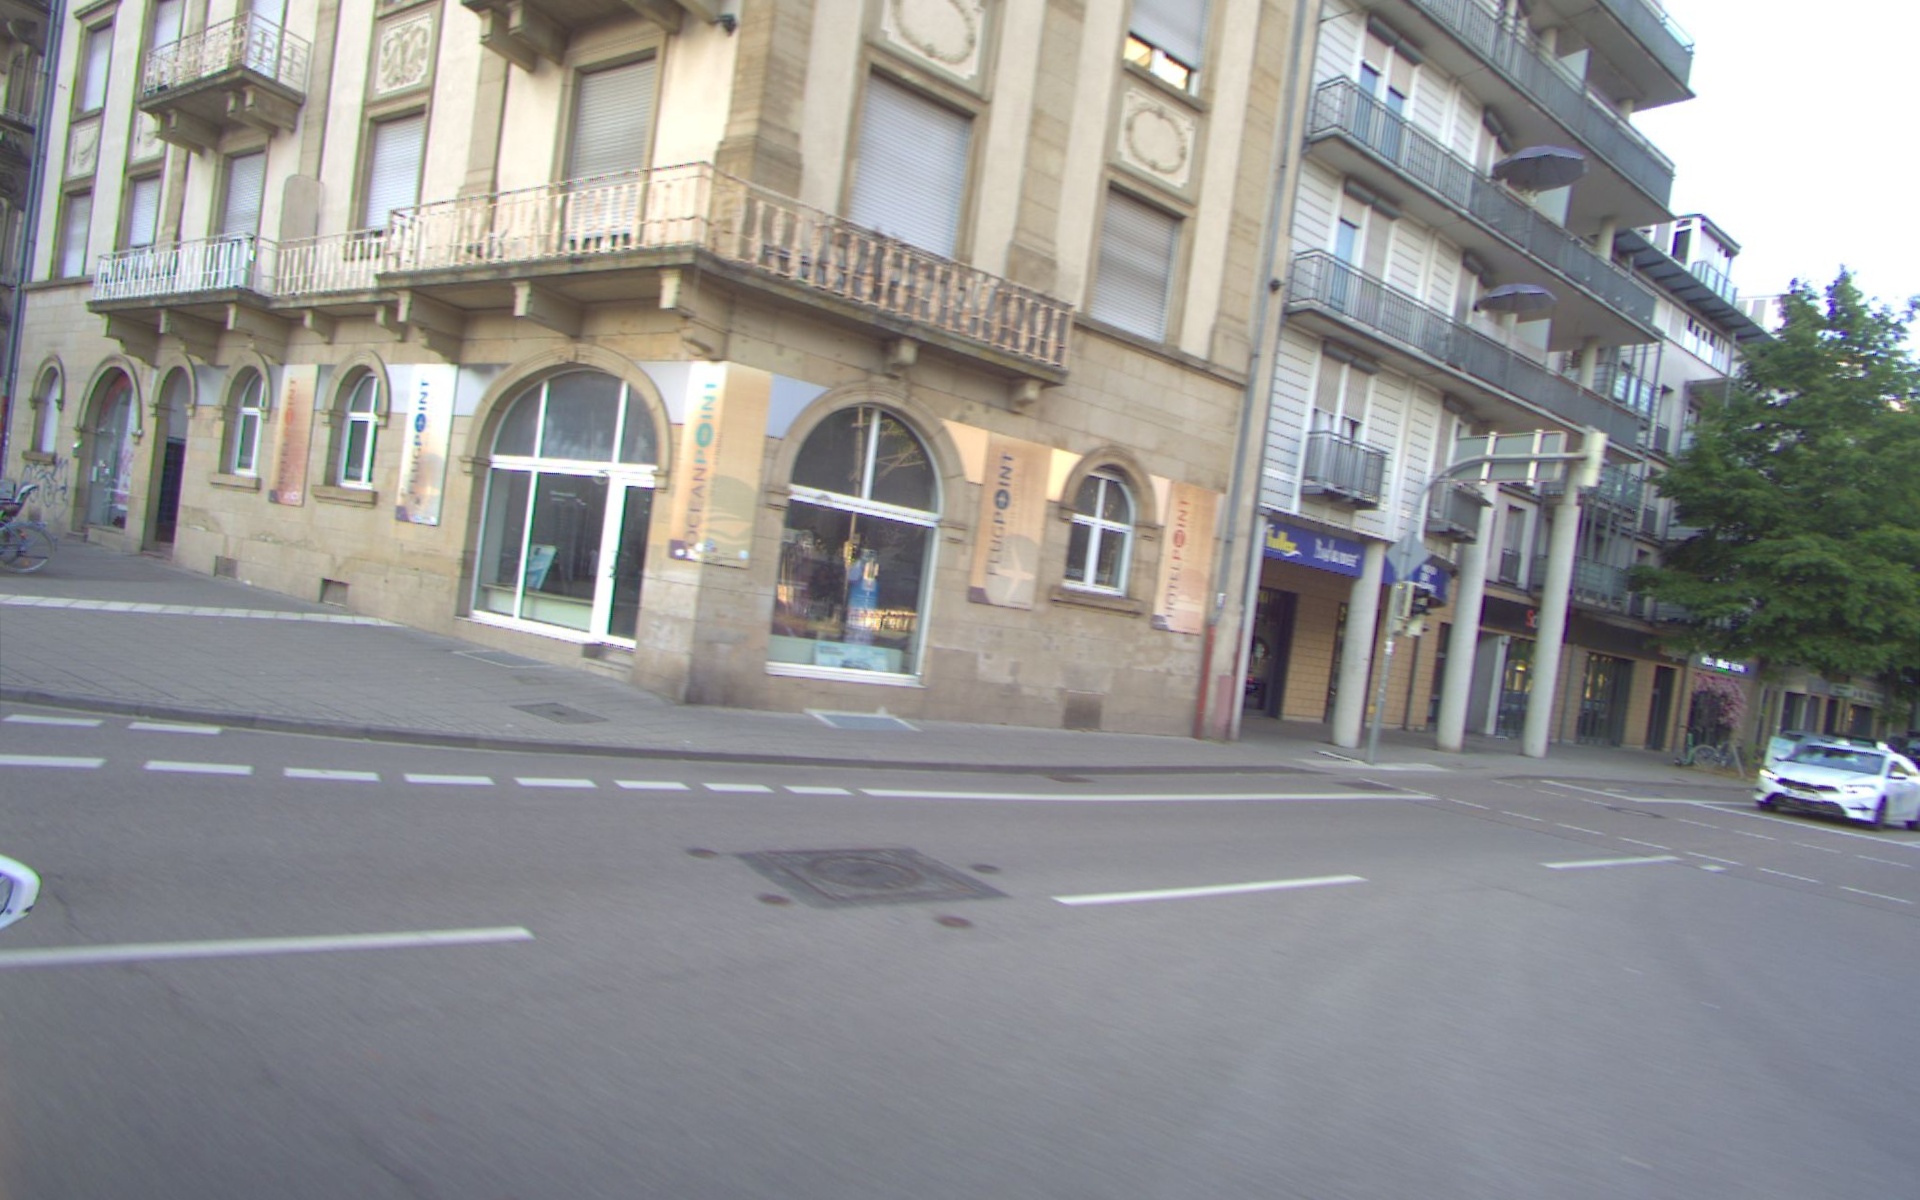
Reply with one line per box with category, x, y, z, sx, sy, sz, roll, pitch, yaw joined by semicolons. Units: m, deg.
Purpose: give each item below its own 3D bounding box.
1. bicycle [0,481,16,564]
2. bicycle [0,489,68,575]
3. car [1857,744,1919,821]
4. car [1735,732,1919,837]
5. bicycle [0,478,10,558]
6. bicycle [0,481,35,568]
bicycle;-15.249;-1.230;14.865;0.470;1.255;1.818;8;3;30
bicycle;-13.816;-1.000;14.118;0.625;1.165;1.818;8;3;30
car;22.366;4.291;23.102;3.969;1.503;1.830;9;-1;-38
car;16.769;3.540;19.193;3.963;1.503;1.833;9;-1;-33
bicycle;-15.785;-1.331;15.338;0.405;1.255;1.818;8;3;30
bicycle;-14.646;-1.156;14.516;0.480;1.255;1.818;8;3;30
